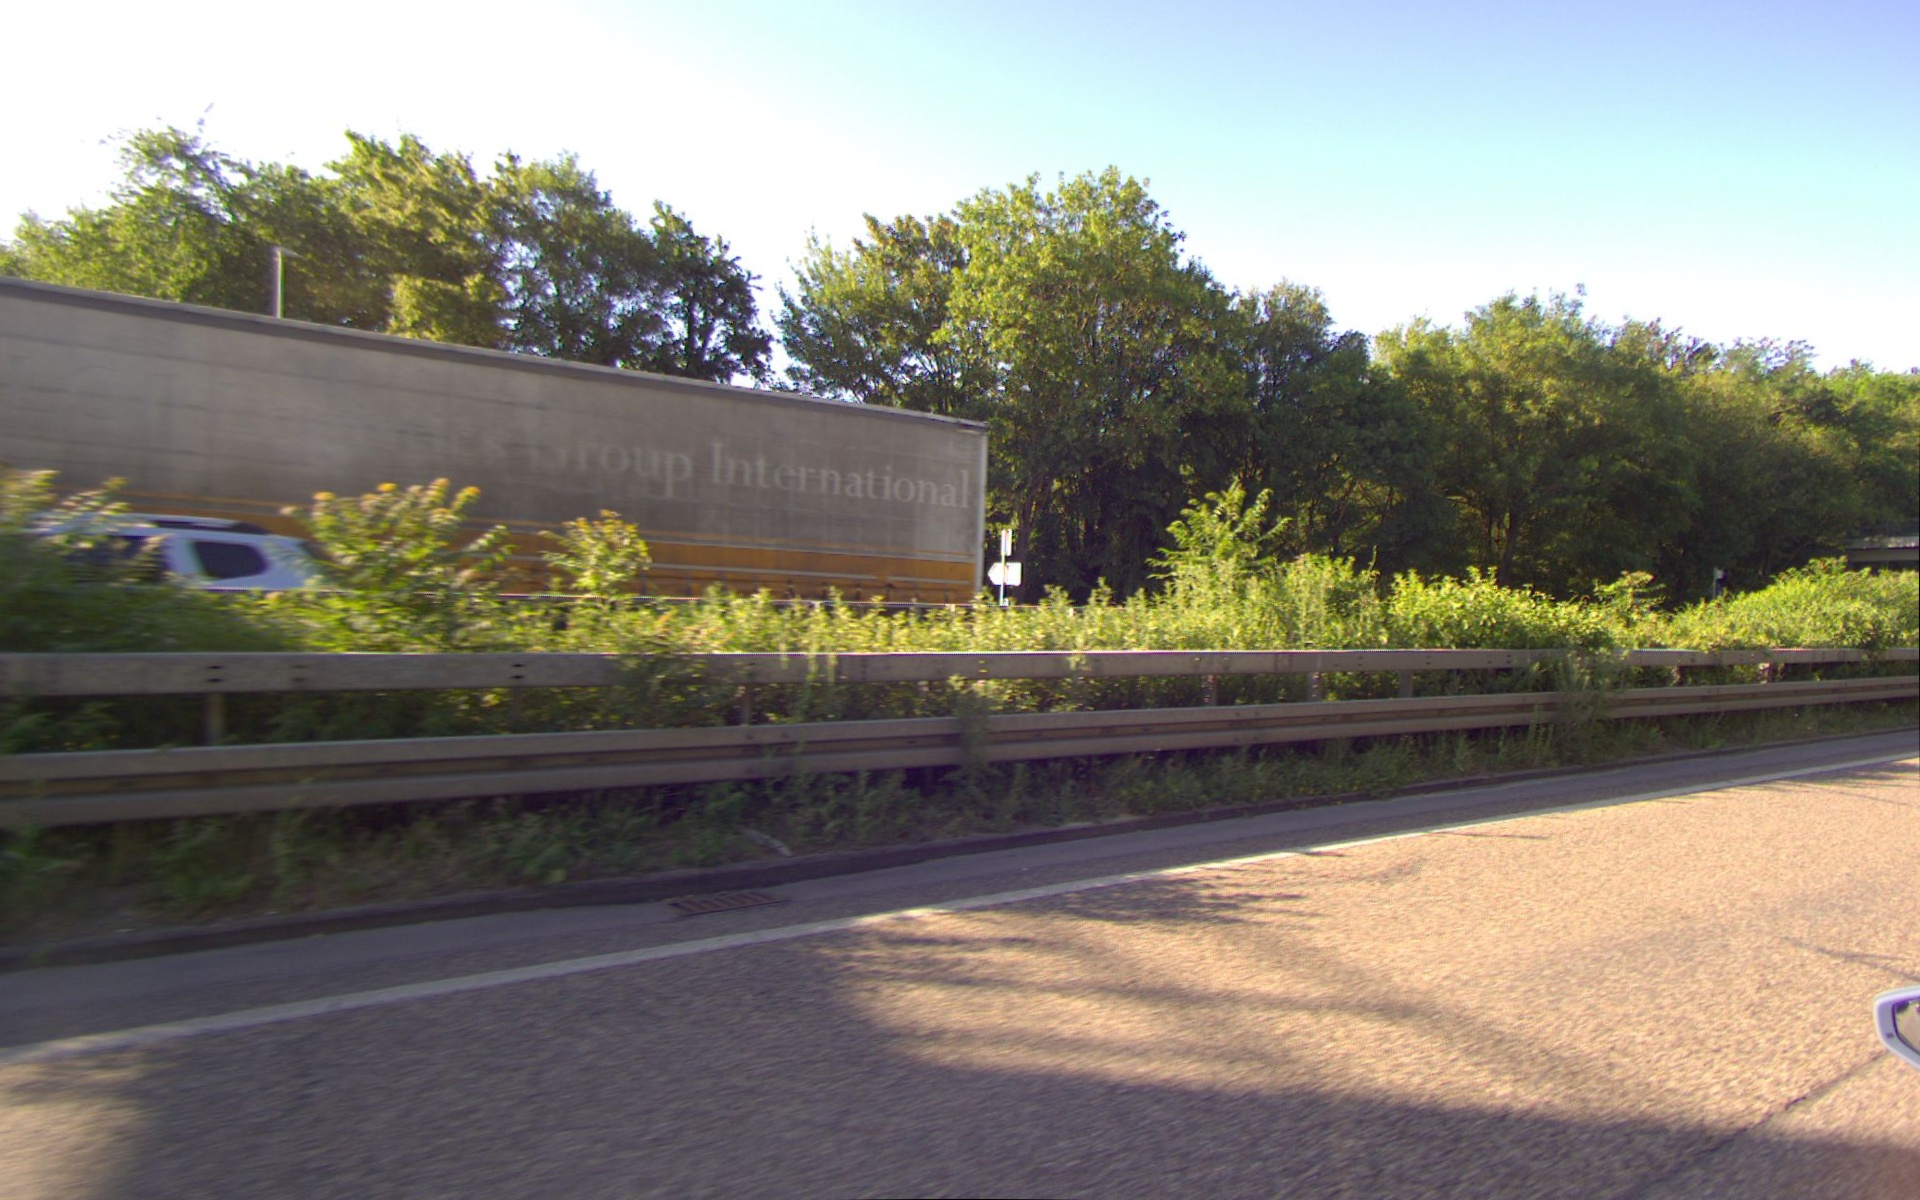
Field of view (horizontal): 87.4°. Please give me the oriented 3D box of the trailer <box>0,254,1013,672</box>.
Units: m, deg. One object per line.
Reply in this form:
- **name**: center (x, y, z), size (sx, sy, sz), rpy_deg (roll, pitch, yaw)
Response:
- **trailer**: center (-5.932, -1.205, 13.458), size (13.863, 4.041, 3.008), rpy_deg (2, 0, -31)

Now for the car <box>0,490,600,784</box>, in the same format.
- **car**: center (-5.424, 0.283, 8.820), size (3.953, 2.040, 1.984), rpy_deg (2, 1, -30)

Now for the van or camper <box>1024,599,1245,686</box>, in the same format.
- **van or camper**: center (4.639, 1.097, 26.350), size (5.869, 2.040, 1.867), rpy_deg (2, 1, -30)

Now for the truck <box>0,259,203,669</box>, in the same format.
- **truck**: center (-11.567, -1.380, 10.134), size (5.832, 3.965, 2.989), rpy_deg (2, 0, -30)
